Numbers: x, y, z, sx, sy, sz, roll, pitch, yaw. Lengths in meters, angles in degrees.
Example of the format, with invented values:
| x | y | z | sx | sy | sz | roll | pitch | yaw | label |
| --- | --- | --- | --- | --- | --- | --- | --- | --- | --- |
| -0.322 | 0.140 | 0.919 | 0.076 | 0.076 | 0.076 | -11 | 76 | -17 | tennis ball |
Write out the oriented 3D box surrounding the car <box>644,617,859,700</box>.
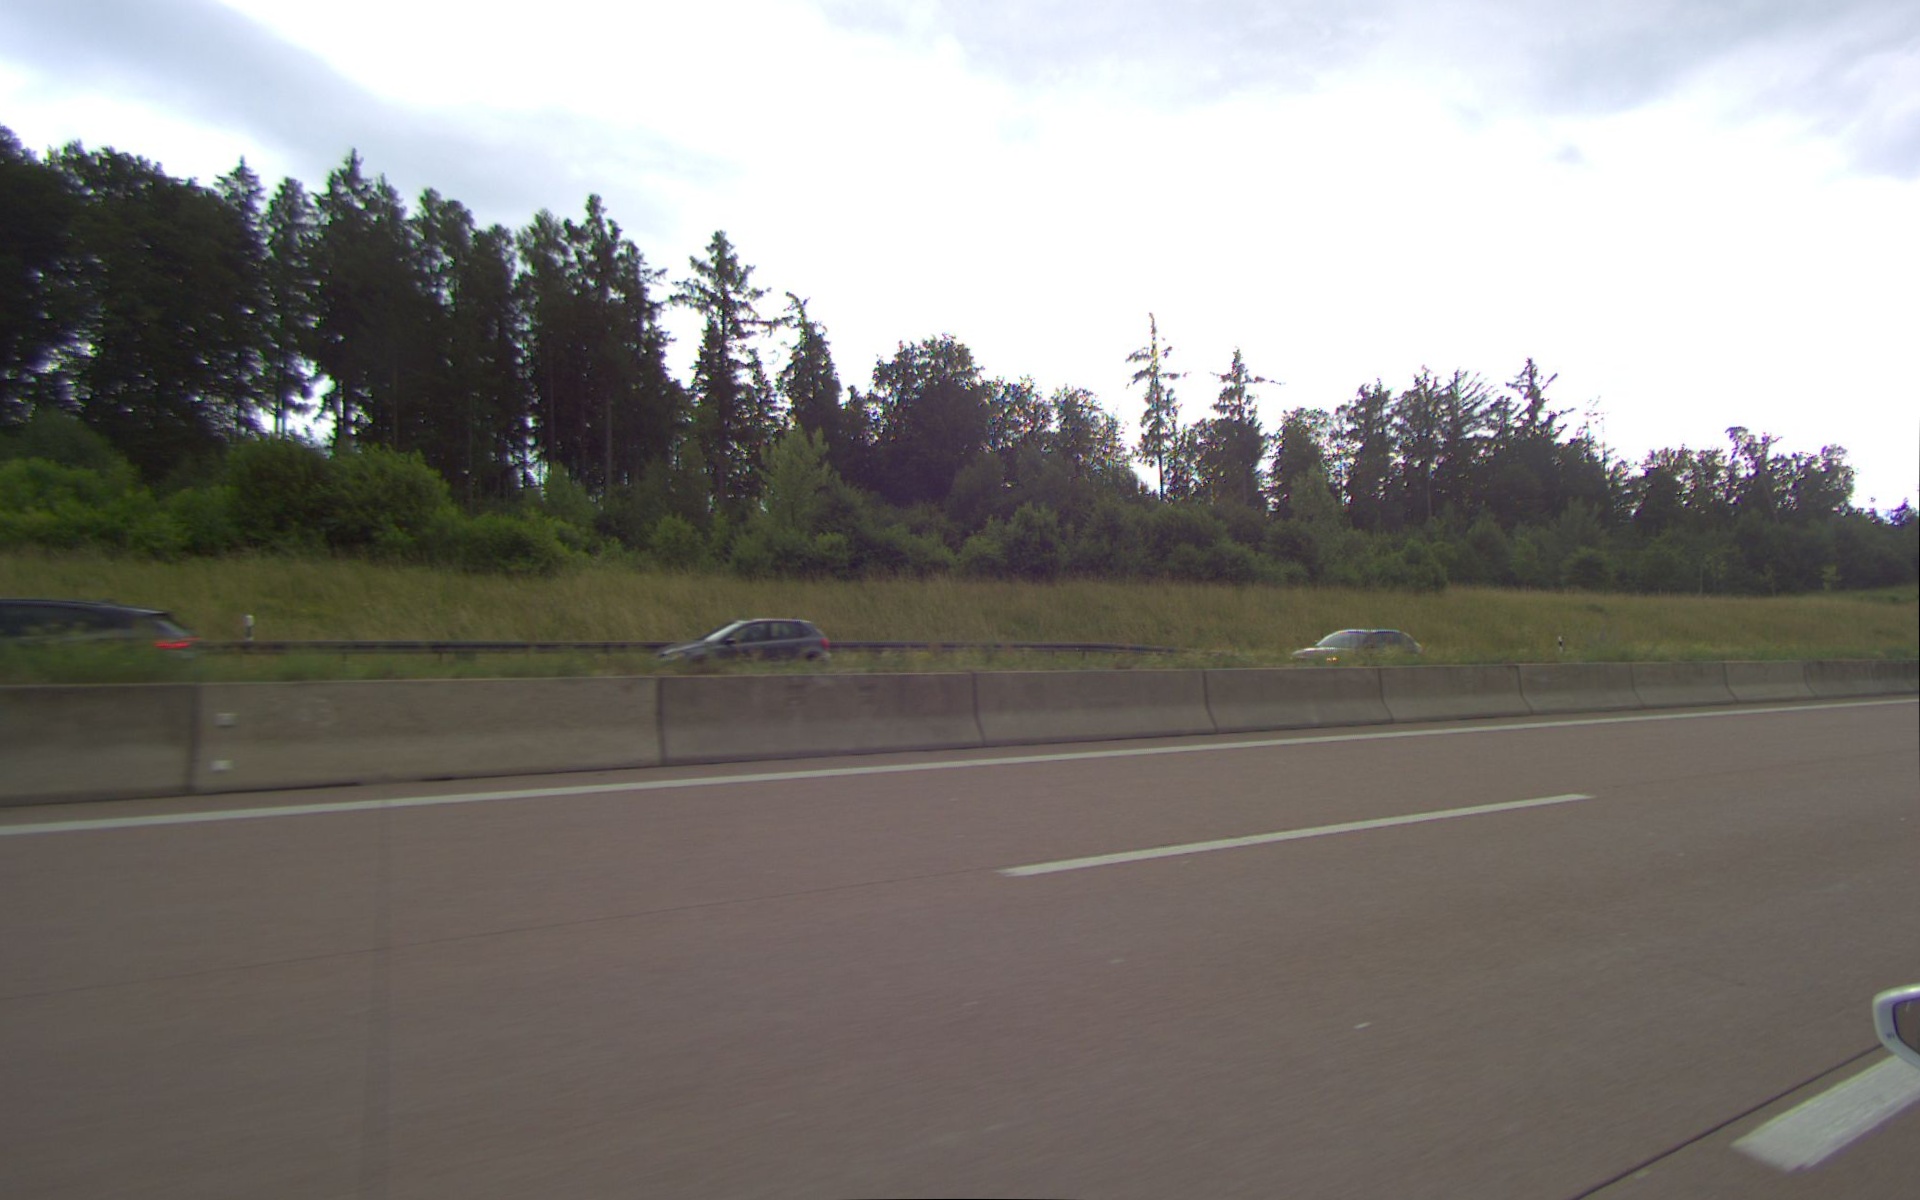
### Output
| x | y | z | sx | sy | sz | roll | pitch | yaw | label |
| --- | --- | --- | --- | --- | --- | --- | --- | --- | --- |
| -4.630 | 1.329 | 22.457 | 4.329 | 1.660 | 1.754 | 3 | -1 | -30 | car |

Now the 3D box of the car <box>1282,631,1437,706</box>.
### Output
| x | y | z | sx | sy | sz | roll | pitch | yaw | label |
| --- | --- | --- | --- | --- | --- | --- | --- | --- | --- |
| 10.773 | 1.794 | 27.037 | 3.952 | 1.840 | 1.799 | 1 | -1 | -30 | car |

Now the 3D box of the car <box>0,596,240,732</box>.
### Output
| x | y | z | sx | sy | sz | roll | pitch | yaw | label |
| --- | --- | --- | --- | --- | --- | --- | --- | --- | --- |
| -12.295 | 0.804 | 13.253 | 4.333 | 1.660 | 1.753 | 3 | -1 | -32 | car |
